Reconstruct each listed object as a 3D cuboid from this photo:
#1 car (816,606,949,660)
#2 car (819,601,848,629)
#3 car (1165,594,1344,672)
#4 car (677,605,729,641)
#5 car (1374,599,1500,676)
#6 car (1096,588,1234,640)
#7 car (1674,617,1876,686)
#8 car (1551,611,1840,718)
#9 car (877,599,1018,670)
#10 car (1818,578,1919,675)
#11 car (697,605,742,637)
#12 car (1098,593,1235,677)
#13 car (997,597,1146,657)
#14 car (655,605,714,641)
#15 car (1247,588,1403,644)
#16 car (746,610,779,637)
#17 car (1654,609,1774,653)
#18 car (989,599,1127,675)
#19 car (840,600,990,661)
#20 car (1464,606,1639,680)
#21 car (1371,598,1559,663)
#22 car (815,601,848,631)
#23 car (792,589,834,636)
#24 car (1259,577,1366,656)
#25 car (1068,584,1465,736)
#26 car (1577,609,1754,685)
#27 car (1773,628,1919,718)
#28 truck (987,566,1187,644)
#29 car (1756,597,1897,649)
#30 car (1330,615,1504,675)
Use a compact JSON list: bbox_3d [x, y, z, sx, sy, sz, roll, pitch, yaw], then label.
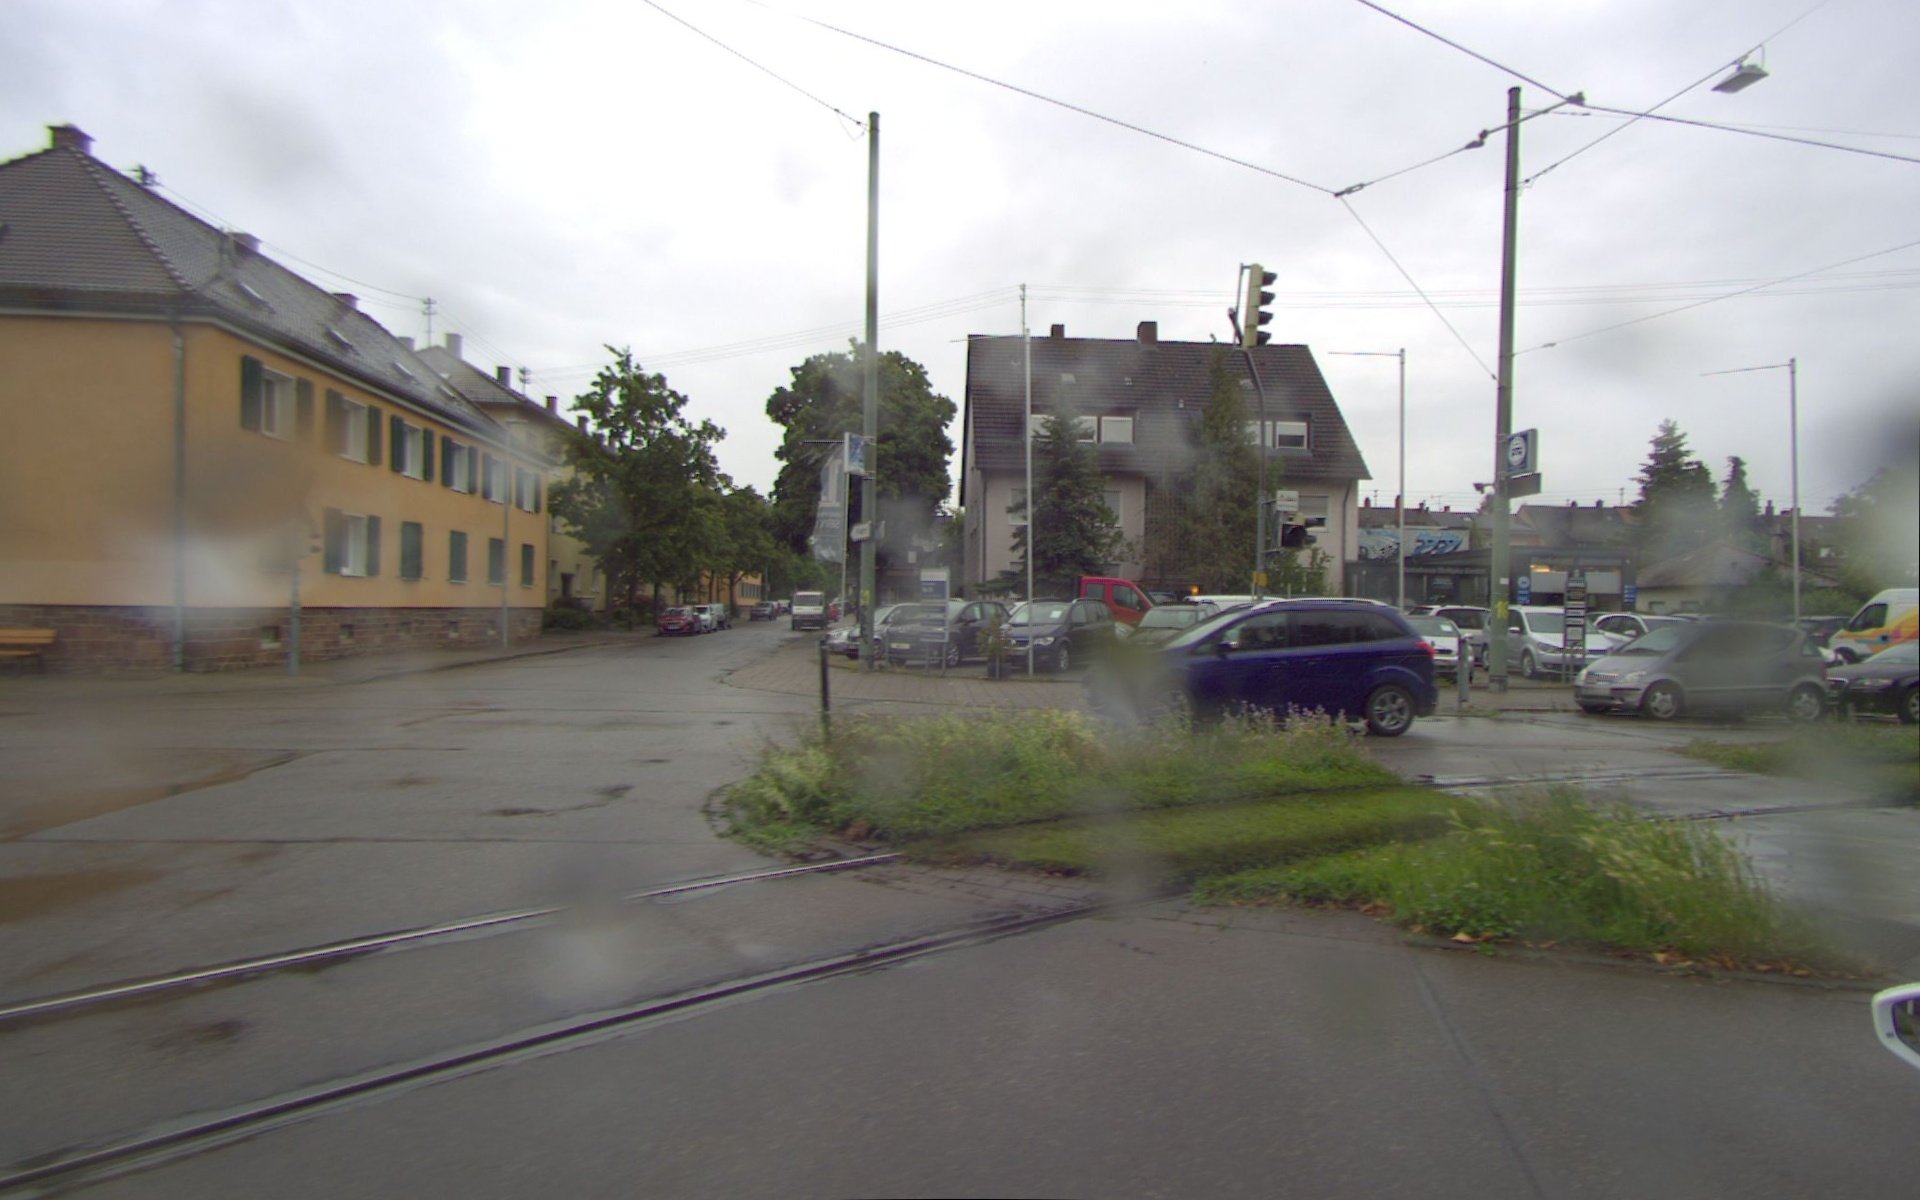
[{"bbox_3d":[-2.423,1.008,31.360,3.816,1.600,1.798,0,0,-23],"label":"car"},{"bbox_3d":[-10.052,1.191,80.141,1.962,2.040,3.998,3,-1,-3],"label":"car"},{"bbox_3d":[8.079,0.912,27.841,4.359,2.040,2.000,1,-1,-1],"label":"car"},{"bbox_3d":[-13.333,1.191,52.238,1.962,1.773,3.997,1,-1,-5],"label":"car"},{"bbox_3d":[10.815,0.822,23.058,1.796,1.524,4.061,3,-1,14],"label":"car"},{"bbox_3d":[7.038,0.504,34.811,4.359,1.709,2.000,1,-1,-1],"label":"car"},{"bbox_3d":[19.269,1.162,23.983,1.689,1.414,3.842,3,-1,1],"label":"car"},{"bbox_3d":[12.170,1.031,16.762,3.574,1.524,1.722,3,0,-3],"label":"car"},{"bbox_3d":[-0.224,0.801,24.699,1.775,1.599,3.865,0,-1,29],"label":"car"},{"bbox_3d":[25.164,0.711,25.513,2.111,2.438,5.147,3,-1,-3],"label":"car"},{"bbox_3d":[-14.026,1.231,58.695,1.962,1.773,3.997,1,-1,-5],"label":"car"},{"bbox_3d":[4.825,0.750,23.043,1.964,1.739,3.993,0,-1,30],"label":"car"},{"bbox_3d":[3.207,0.746,28.655,3.899,1.619,2.001,0,-1,17],"label":"car"},{"bbox_3d":[-12.937,1.077,47.365,1.962,1.639,3.997,1,-1,-5],"label":"car"},{"bbox_3d":[11.851,0.534,32.803,4.359,1.709,2.000,1,-1,-1],"label":"car"},{"bbox_3d":[-16.092,1.864,81.928,1.962,2.040,3.998,3,-1,-3],"label":"car"},{"bbox_3d":[28.458,1.176,37.916,4.386,1.601,1.783,1,-1,-25],"label":"car"},{"bbox_3d":[2.361,0.803,23.339,1.775,1.599,3.865,0,-1,29],"label":"car"},{"bbox_3d":[-1.268,0.818,28.092,3.816,1.600,1.798,0,0,-23],"label":"car"},{"bbox_3d":[13.708,0.942,23.565,1.772,1.599,3.871,0,0,-1],"label":"car"},{"bbox_3d":[13.970,0.846,27.957,4.359,1.709,1.760,1,-1,-1],"label":"car"},{"bbox_3d":[-9.235,1.145,72.617,1.962,2.040,3.998,3,-1,-3],"label":"car"},{"bbox_3d":[-8.735,0.731,59.907,2.119,2.606,4.130,3,-1,-5],"label":"car"},{"bbox_3d":[7.923,0.382,22.359,1.799,1.524,4.055,3,-1,25],"label":"car"},{"bbox_3d":[3.838,0.744,13.100,4.486,1.626,1.999,3,-1,-5],"label":"car"},{"bbox_3d":[16.755,1.069,24.081,1.689,1.594,3.617,3,-1,1],"label":"car"},{"bbox_3d":[16.507,1.263,16.893,4.303,1.356,1.722,3,-1,-2],"label":"car"},{"bbox_3d":[3.995,0.164,31.555,5.981,2.302,2.001,0,-1,17],"label":"truck"},{"bbox_3d":[28.131,0.773,32.605,4.339,1.601,1.854,1,-1,-25],"label":"car"},{"bbox_3d":[13.728,1.351,30.362,4.359,1.709,2.000,1,-1,-1],"label":"car"}]
